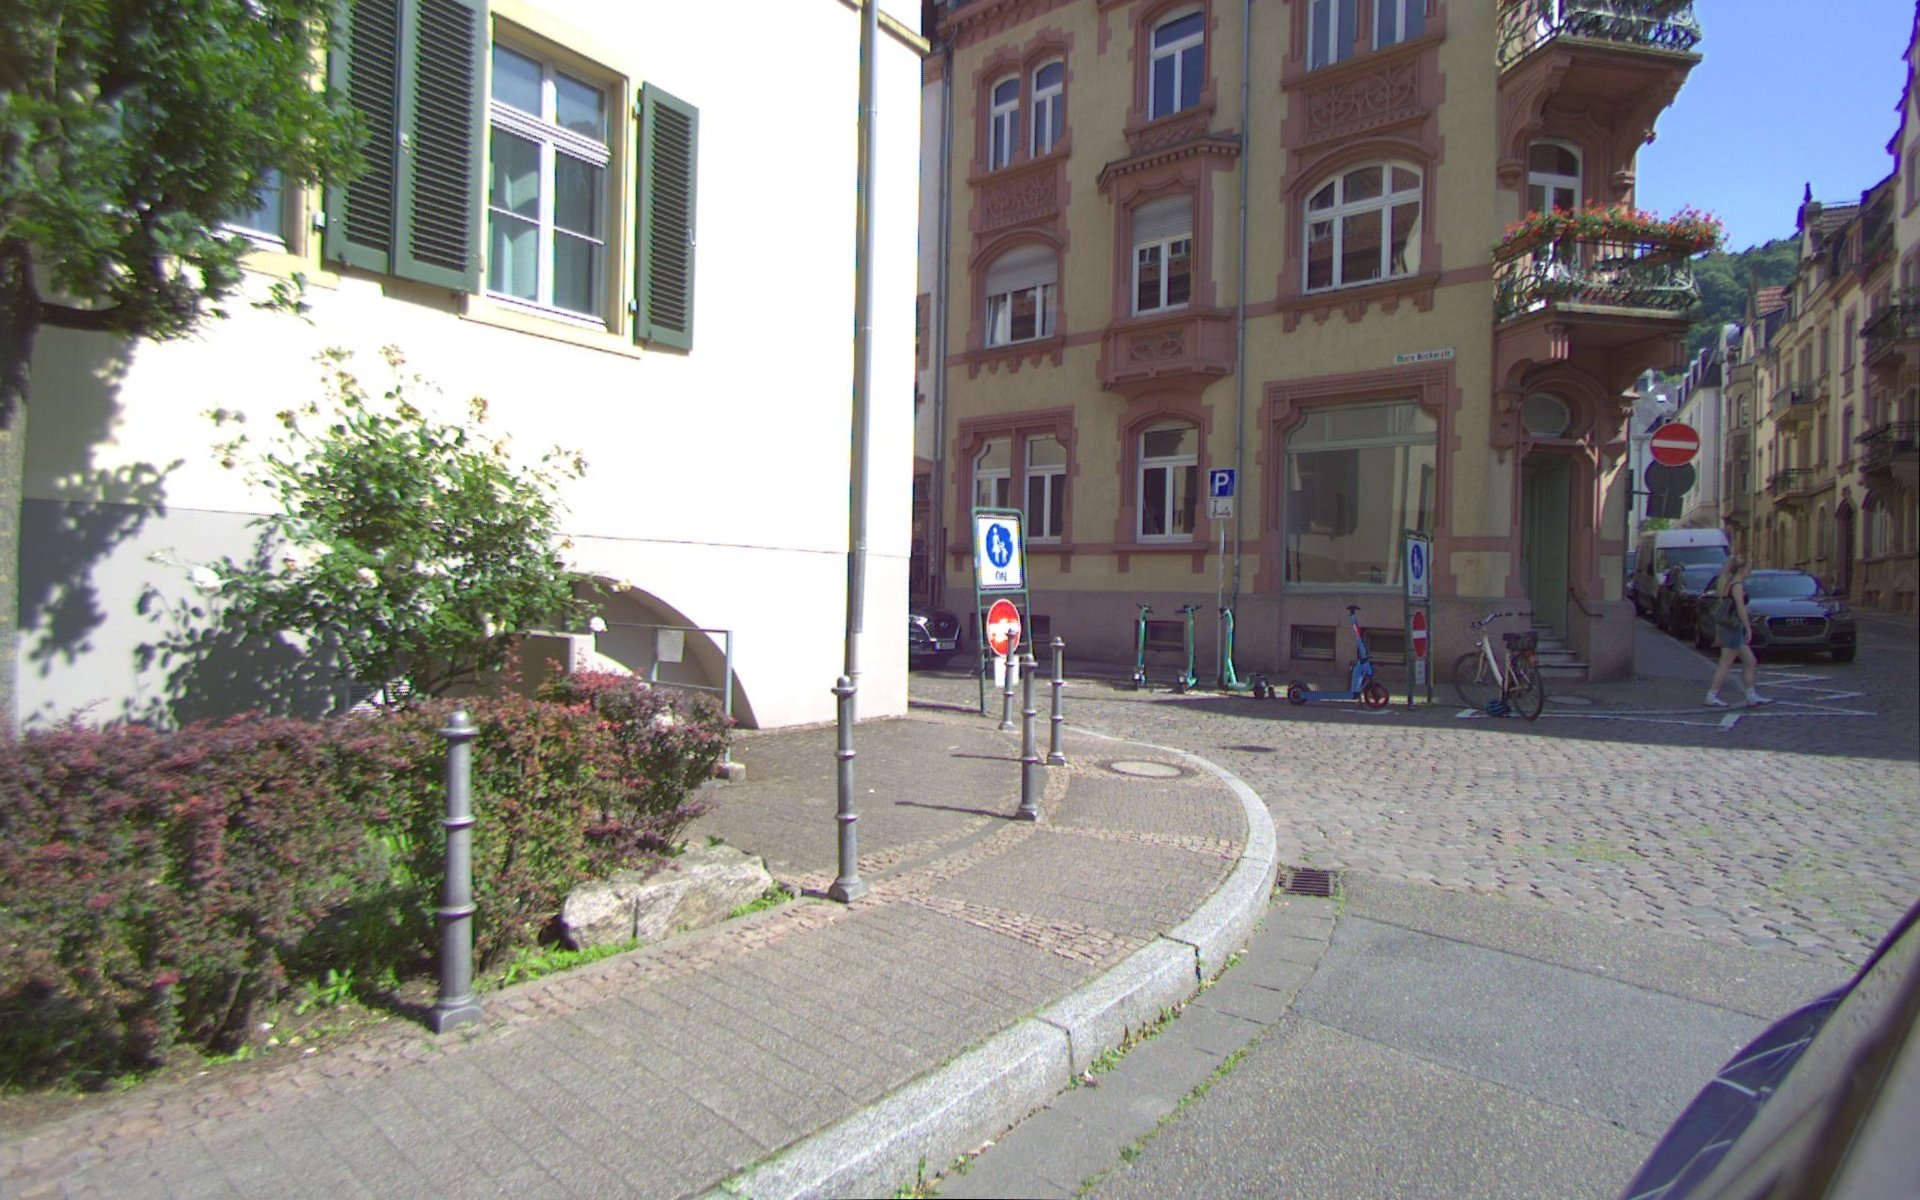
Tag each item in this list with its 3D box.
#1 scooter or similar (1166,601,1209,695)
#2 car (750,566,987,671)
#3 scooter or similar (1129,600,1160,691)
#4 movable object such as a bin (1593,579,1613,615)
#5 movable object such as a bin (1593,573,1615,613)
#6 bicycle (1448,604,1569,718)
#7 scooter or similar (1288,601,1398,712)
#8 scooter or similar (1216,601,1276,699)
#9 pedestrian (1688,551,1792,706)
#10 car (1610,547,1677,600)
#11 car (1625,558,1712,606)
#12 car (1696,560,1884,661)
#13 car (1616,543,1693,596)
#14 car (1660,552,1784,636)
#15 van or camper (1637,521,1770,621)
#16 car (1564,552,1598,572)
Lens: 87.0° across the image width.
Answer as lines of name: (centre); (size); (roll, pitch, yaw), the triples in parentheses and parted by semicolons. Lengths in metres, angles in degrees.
scooter or similar: (3.157, 0.639, 14.027); (0.408, 1.224, 1.226); (1, 0, 20)
car: (-1.686, 0.256, 18.044); (3.978, 1.663, 1.973); (1, 1, 38)
scooter or similar: (2.622, 0.614, 14.331); (0.337, 1.224, 1.185); (1, 0, 15)
movable object such as a bin: (17.440, -0.080, 27.460); (0.436, 0.969, 0.346); (0, 0, 31)
movable object such as a bin: (18.039, -0.206, 28.356); (0.513, 1.103, 0.417); (1, 0, 31)
bicycle: (6.301, 0.653, 11.722); (0.496, 1.160, 1.792); (1, 1, 3)
scooter or similar: (4.564, 0.648, 12.067); (1.179, 1.251, 0.438); (1, 0, 27)
scooter or similar: (3.774, 0.634, 13.420); (0.335, 1.224, 1.192); (1, 0, -6)
pedestrian: (9.410, 0.313, 12.224); (0.976, 1.779, 0.615); (0, 3, 39)
car: (29.675, -1.122, 44.056); (1.982, 2.172, 3.960); (1, 0, 28)
car: (24.392, -0.595, 34.974); (1.982, 1.545, 3.960); (1, 1, 28)
car: (14.869, 0.107, 18.391); (1.845, 1.602, 4.218); (-1, 1, 29)
car: (26.744, -1.139, 39.100); (1.982, 1.940, 3.960); (1, 1, 28)
car: (17.292, -0.171, 23.137); (1.747, 1.727, 3.959); (-2, 1, 30)
van or camper: (21.278, -0.914, 29.286); (2.207, 2.550, 6.701); (1, 3, 29)
car: (55.767, -3.375, 90.927); (1.978, 1.683, 3.969); (1, 1, 23)
